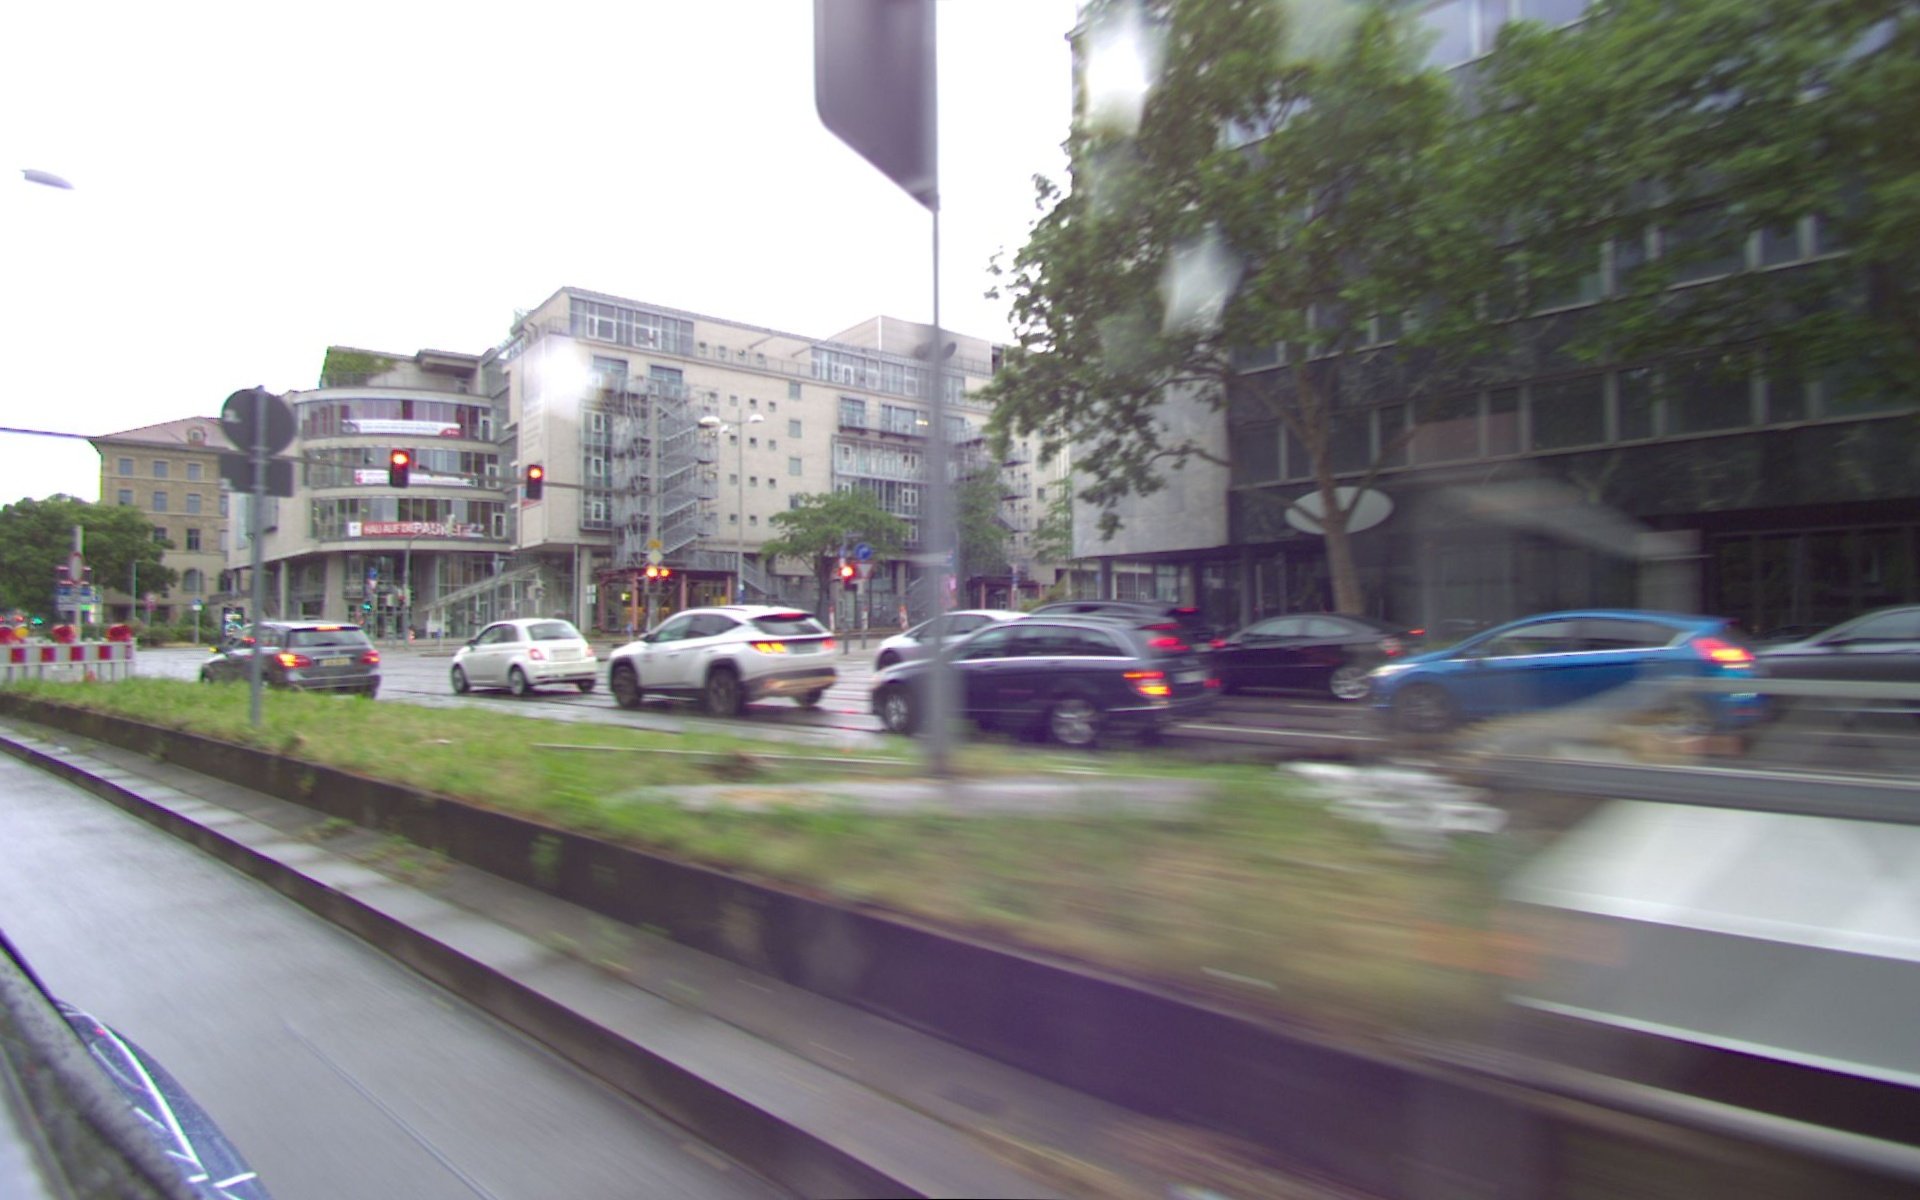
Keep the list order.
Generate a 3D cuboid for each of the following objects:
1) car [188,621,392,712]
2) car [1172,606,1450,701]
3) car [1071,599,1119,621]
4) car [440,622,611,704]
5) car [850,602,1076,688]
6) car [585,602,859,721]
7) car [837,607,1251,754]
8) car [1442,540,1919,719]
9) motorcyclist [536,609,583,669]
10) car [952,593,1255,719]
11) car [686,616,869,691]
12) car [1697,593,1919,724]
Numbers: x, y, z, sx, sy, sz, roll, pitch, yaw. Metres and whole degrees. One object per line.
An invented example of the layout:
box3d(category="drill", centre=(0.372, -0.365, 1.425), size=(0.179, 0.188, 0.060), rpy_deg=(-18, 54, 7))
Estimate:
box3d(category="car", centre=(-12.507, 1.194, 18.822), size=(4.155, 1.493, 1.827), rpy_deg=(-2, -2, 36))
box3d(category="car", centre=(5.825, 0.842, 17.000), size=(3.973, 1.398, 1.974), rpy_deg=(-2, -1, 39))
box3d(category="car", centre=(12.131, 0.902, 90.682), size=(4.270, 1.807, 2.002), rpy_deg=(-1, -1, -42))
box3d(category="car", centre=(-8.846, 1.239, 20.518), size=(3.424, 1.487, 1.701), rpy_deg=(-2, -2, 37))
box3d(category="car", centre=(-0.010, 0.908, 21.469), size=(4.582, 1.616, 1.974), rpy_deg=(-2, -1, 39))
box3d(category="car", centre=(-4.018, 0.952, 16.617), size=(4.793, 1.698, 1.858), rpy_deg=(-2, -2, 39))
box3d(category="car", centre=(0.855, 0.889, 12.443), size=(4.912, 1.462, 1.825), rpy_deg=(-2, -2, 40))
box3d(category="car", centre=(7.561, 0.303, 10.868), size=(3.996, 1.577, 1.735), rpy_deg=(-2, -1, 40))
box3d(category="motorcyclist", centre=(-9.723, 0.943, 24.578), size=(0.731, 1.402, 0.780), rpy_deg=(-2, -1, 34))
box3d(category="car", centre=(2.110, 0.822, 15.758), size=(4.411, 1.678, 1.823), rpy_deg=(-2, -2, 43))
box3d(category="car", centre=(-4.502, 1.253, 24.564), size=(4.655, 1.630, 1.740), rpy_deg=(-2, -1, 38))
box3d(category="car", centre=(11.510, 0.640, 11.766), size=(4.584, 1.457, 1.871), rpy_deg=(-3, -2, 41))
